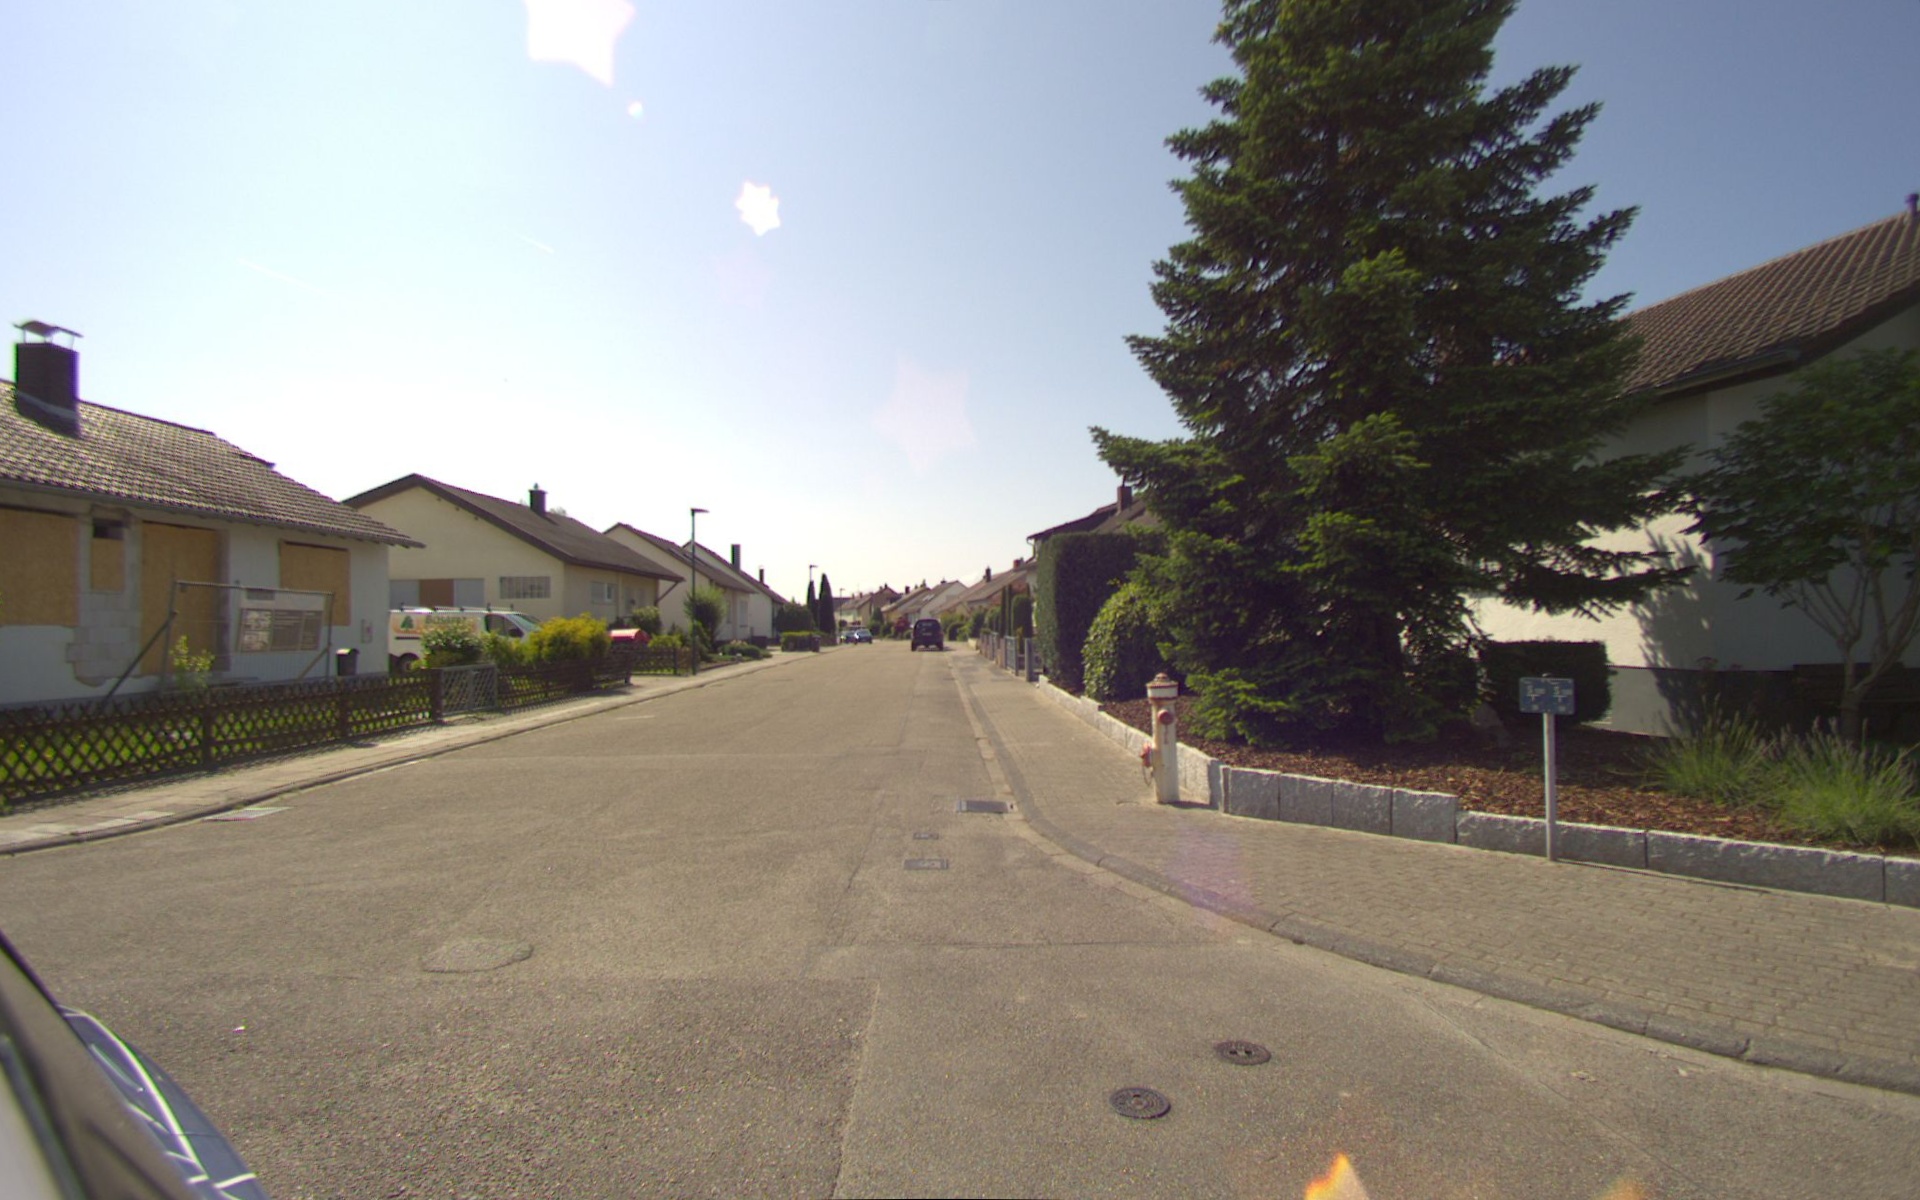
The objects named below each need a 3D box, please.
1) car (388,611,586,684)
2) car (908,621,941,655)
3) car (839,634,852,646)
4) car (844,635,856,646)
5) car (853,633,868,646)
[{"bbox_3d":[-13.727,1.360,29.547,4.943,2.029,1.867,-1,-2,1],"label":"car"},{"bbox_3d":[-1.980,2.120,57.045,1.745,1.791,3.653,-1,-1,-1],"label":"car"},{"bbox_3d":[-12.921,4.495,114.212,1.437,1.287,3.109,0,-1,-8],"label":"car"},{"bbox_3d":[-13.528,5.011,124.329,1.437,1.287,3.107,0,-1,-6],"label":"car"},{"bbox_3d":[-9.989,3.943,101.417,1.437,1.287,3.108,0,-1,-7],"label":"car"}]
